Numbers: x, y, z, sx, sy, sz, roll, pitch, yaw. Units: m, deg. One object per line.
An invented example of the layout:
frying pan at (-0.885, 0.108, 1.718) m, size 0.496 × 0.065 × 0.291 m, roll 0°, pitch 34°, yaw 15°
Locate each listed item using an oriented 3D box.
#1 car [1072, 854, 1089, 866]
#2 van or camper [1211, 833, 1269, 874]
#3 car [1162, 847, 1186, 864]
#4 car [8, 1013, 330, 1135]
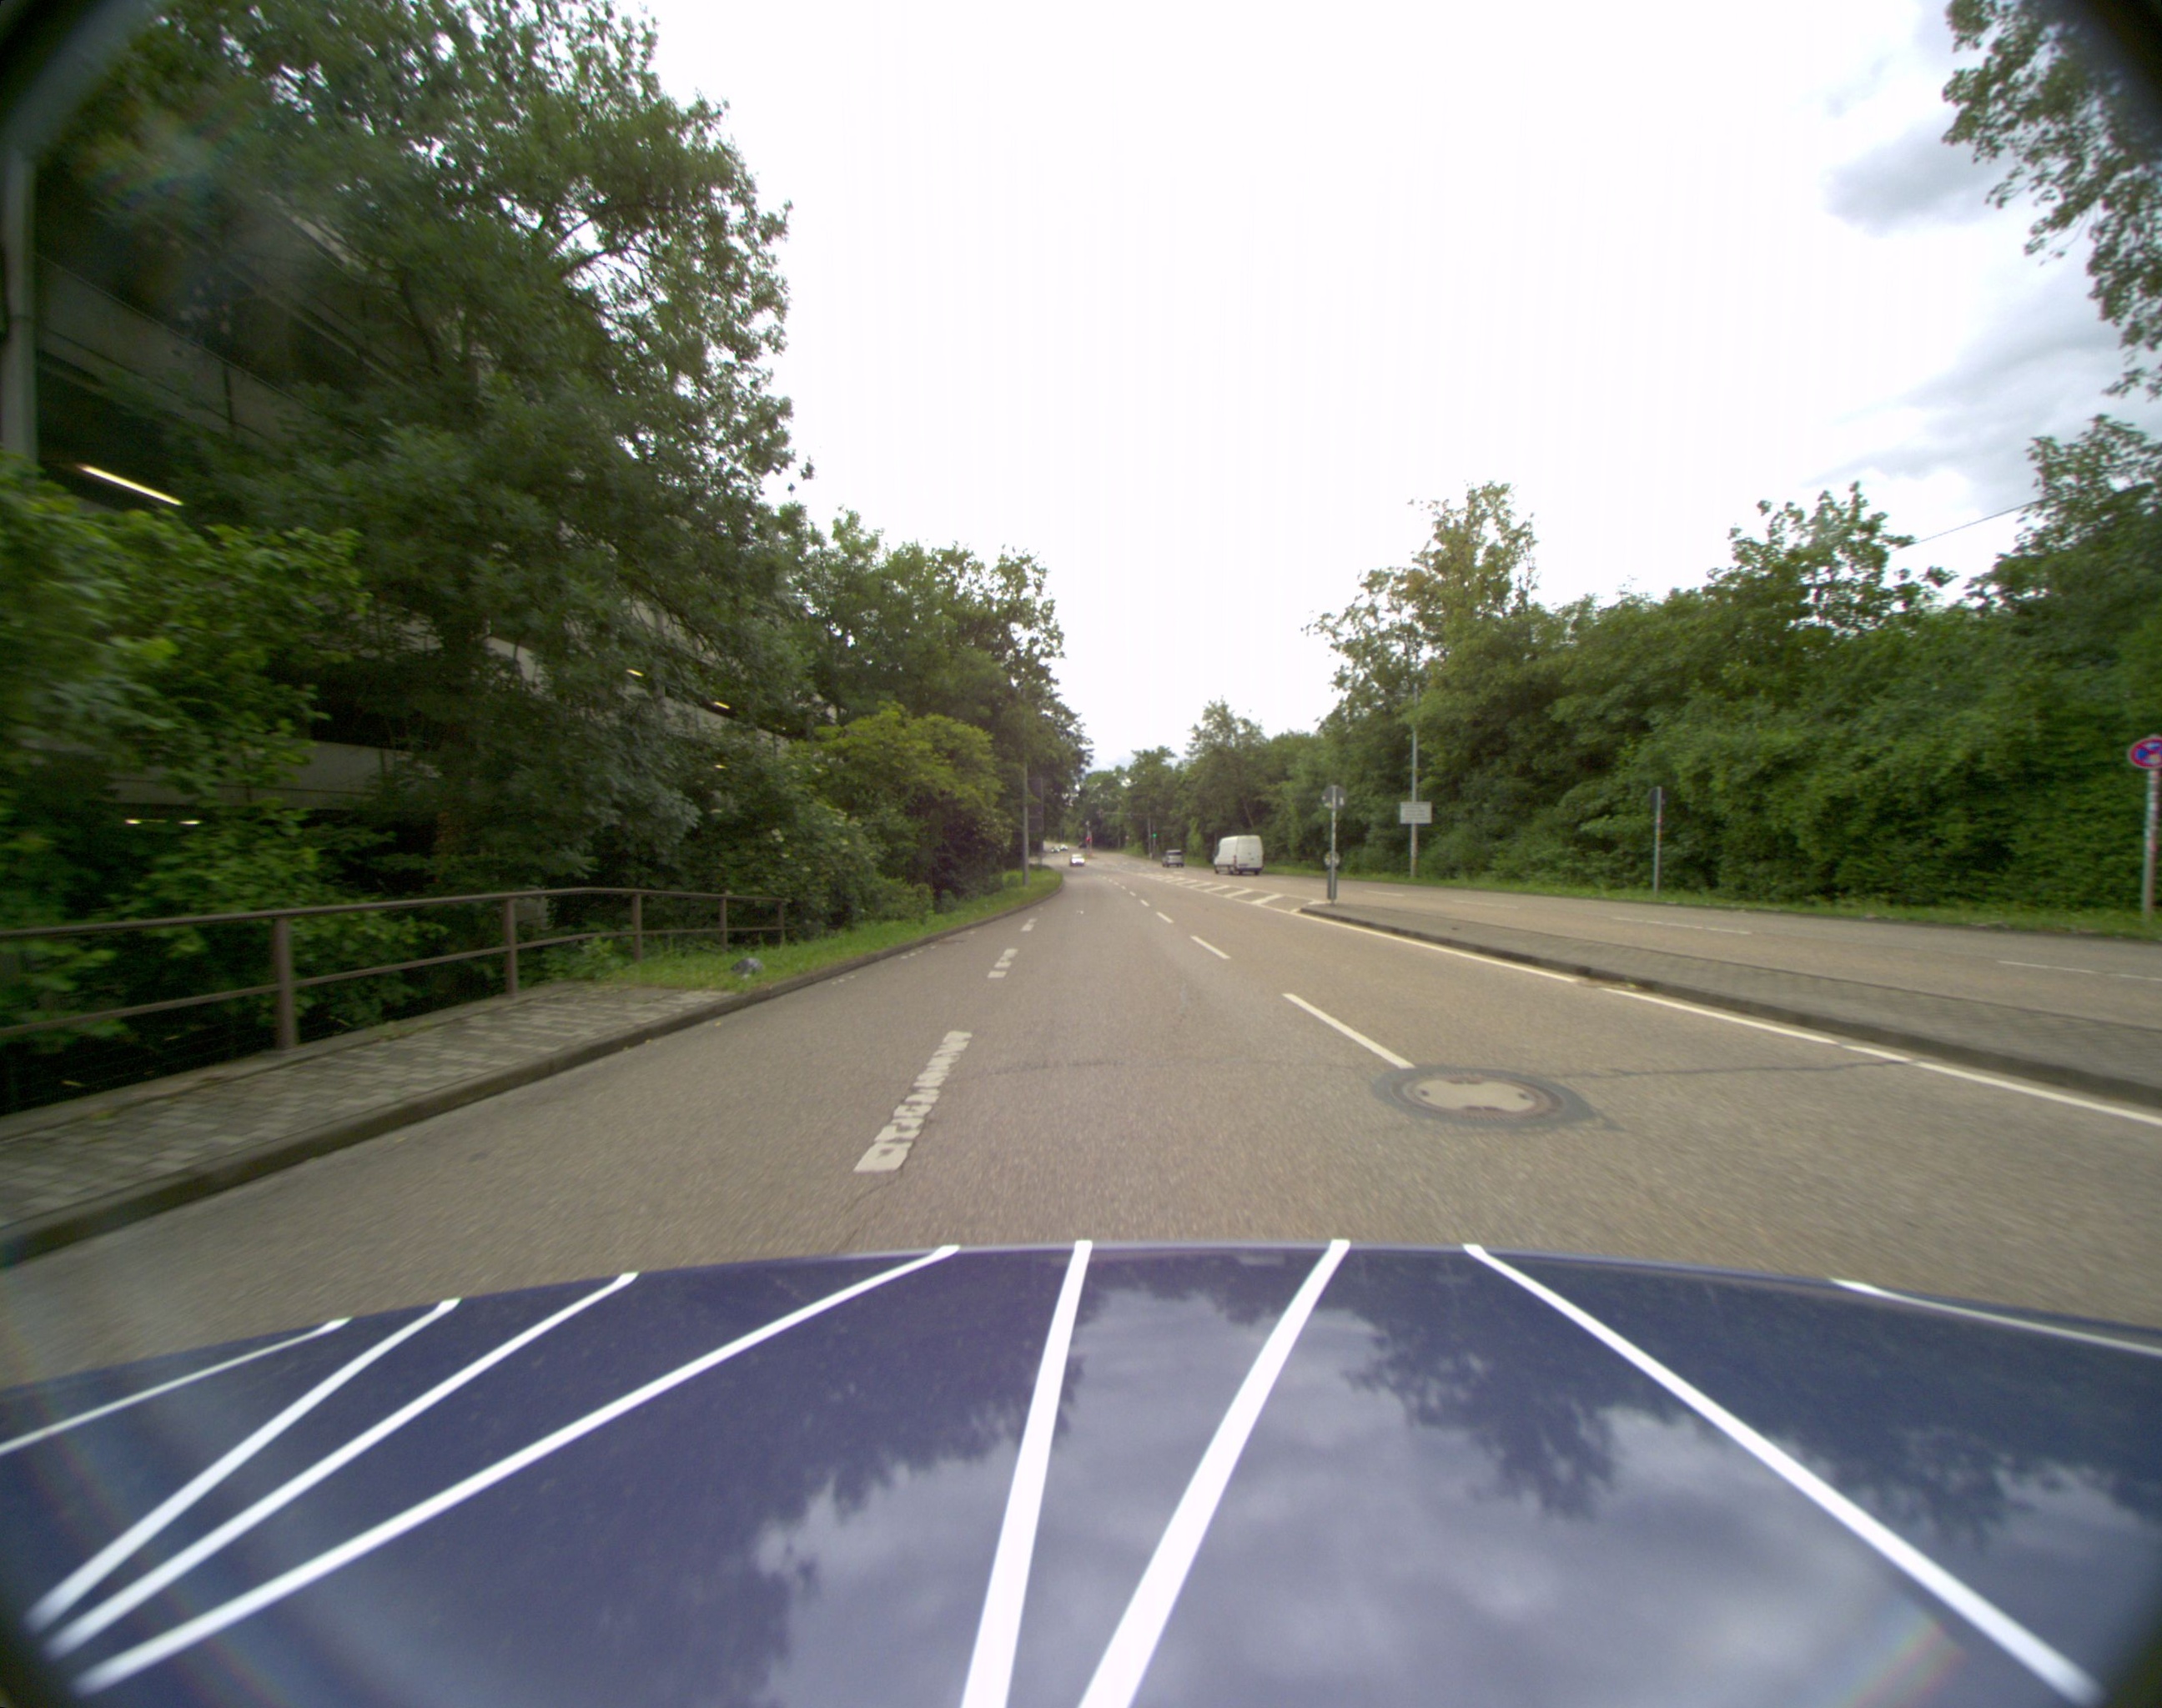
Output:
car at (-0.050, 0.802, 97.421) m, size 1.854 × 1.470 × 4.511 m, roll 1°, pitch 0°, yaw 4°
van or camper at (10.829, -0.034, 52.291) m, size 2.289 × 2.540 × 6.858 m, roll -2°, pitch 0°, yaw -2°
car at (9.892, 0.183, 80.892) m, size 1.818 × 1.819 × 4.382 m, roll -1°, pitch -1°, yaw -3°
car at (-15.775, 3.789, 13.313) m, size 3.394 × 1.504 × 1.662 m, roll -1°, pitch 3°, yaw -3°
